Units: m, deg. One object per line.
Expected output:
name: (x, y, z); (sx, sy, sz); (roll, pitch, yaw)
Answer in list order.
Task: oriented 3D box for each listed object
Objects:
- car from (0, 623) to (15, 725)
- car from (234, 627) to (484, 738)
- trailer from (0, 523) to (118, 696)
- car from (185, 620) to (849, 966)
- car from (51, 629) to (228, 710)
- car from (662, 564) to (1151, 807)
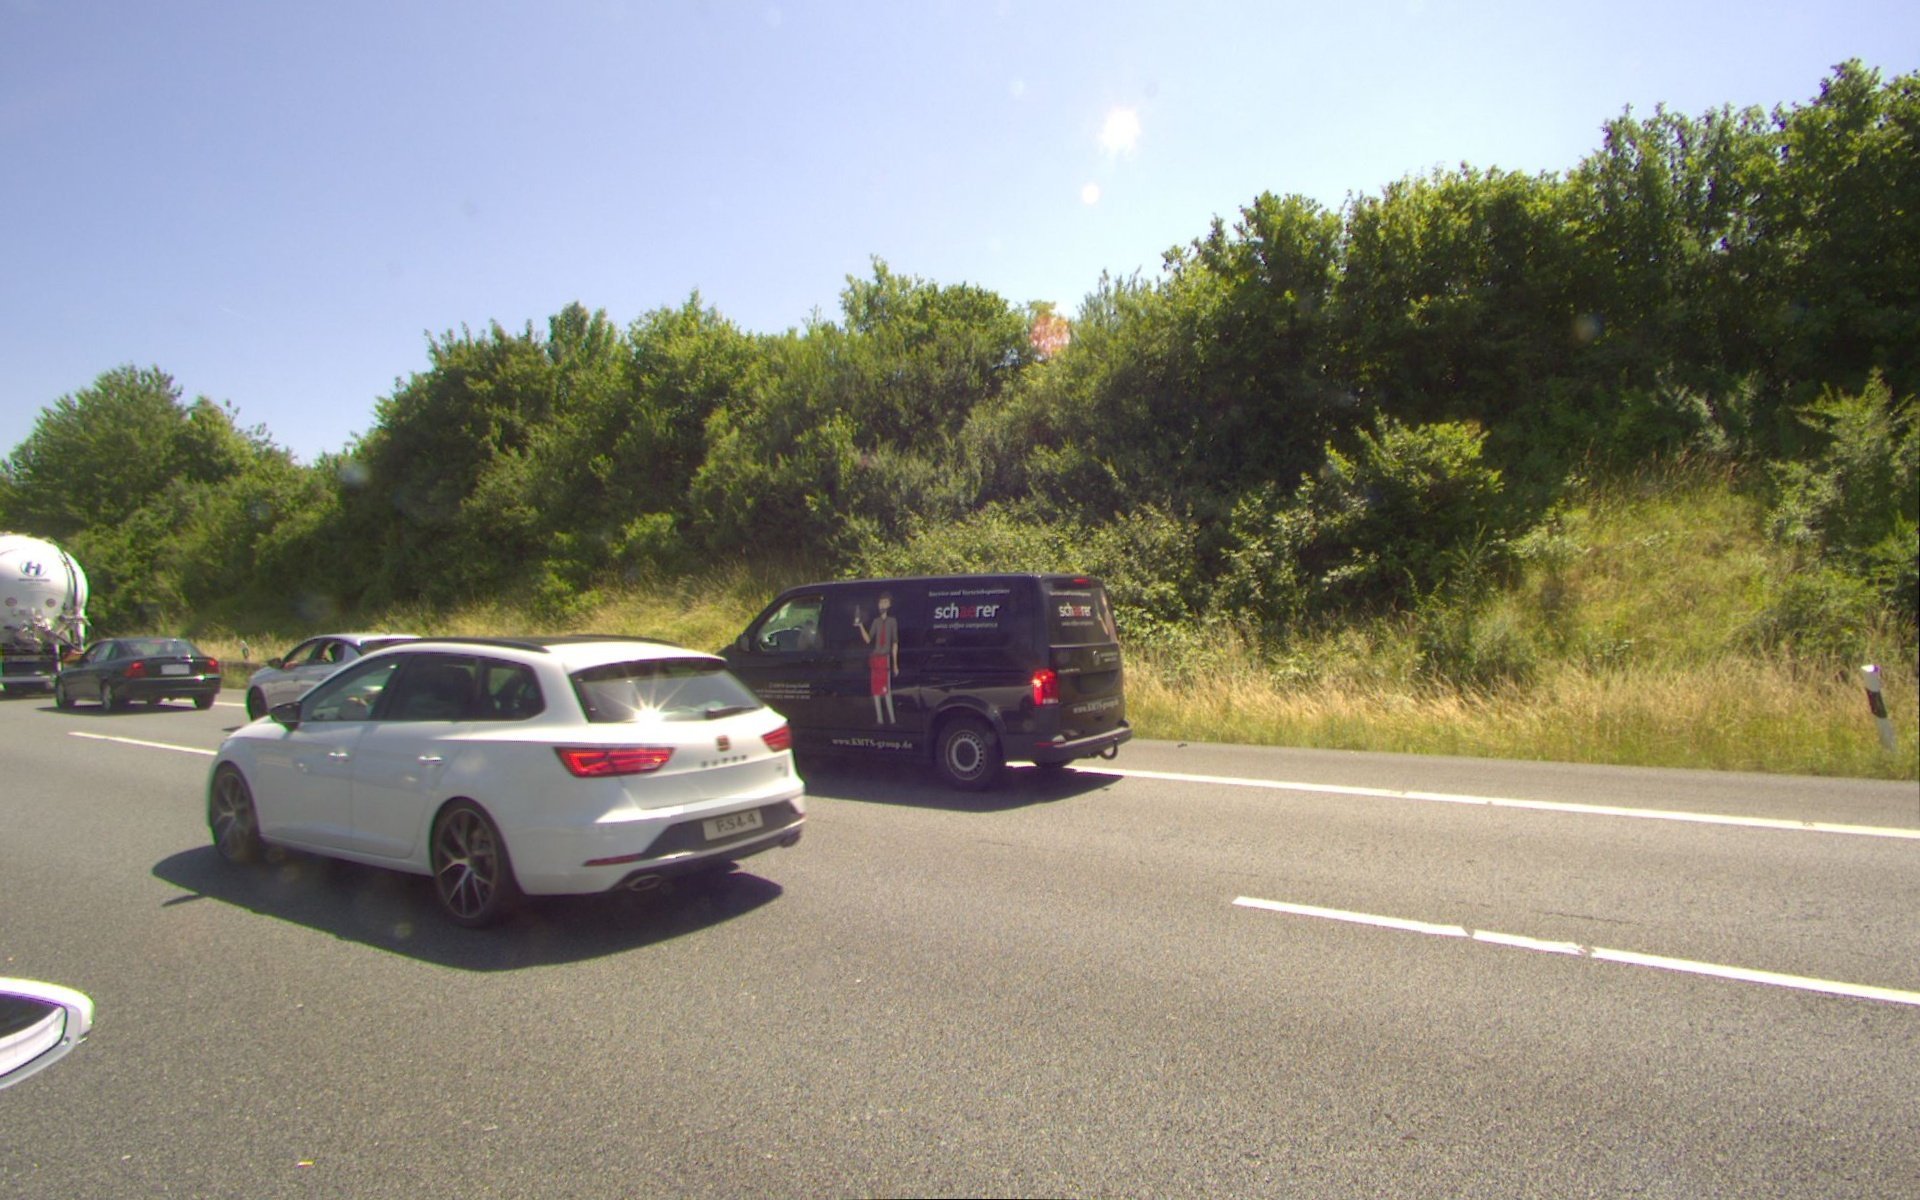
car: (-16.201, 1.152, 15.257); (3.946, 1.504, 1.812); (-2, -1, 34)
car: (-9.298, 1.168, 15.431); (3.971, 1.462, 1.727); (0, 0, 33)
trailer: (-25.953, 0.316, 26.186); (11.323, 3.895, 2.755); (-1, -1, 32)
car: (-2.887, 0.903, 6.190); (4.254, 1.462, 1.743); (-2, -1, 34)
car: (-16.411, 1.342, 19.989); (3.934, 1.435, 1.637); (-2, 0, 34)
car: (-0.678, 0.771, 10.236); (4.790, 1.965, 1.909); (-2, -1, 34)
